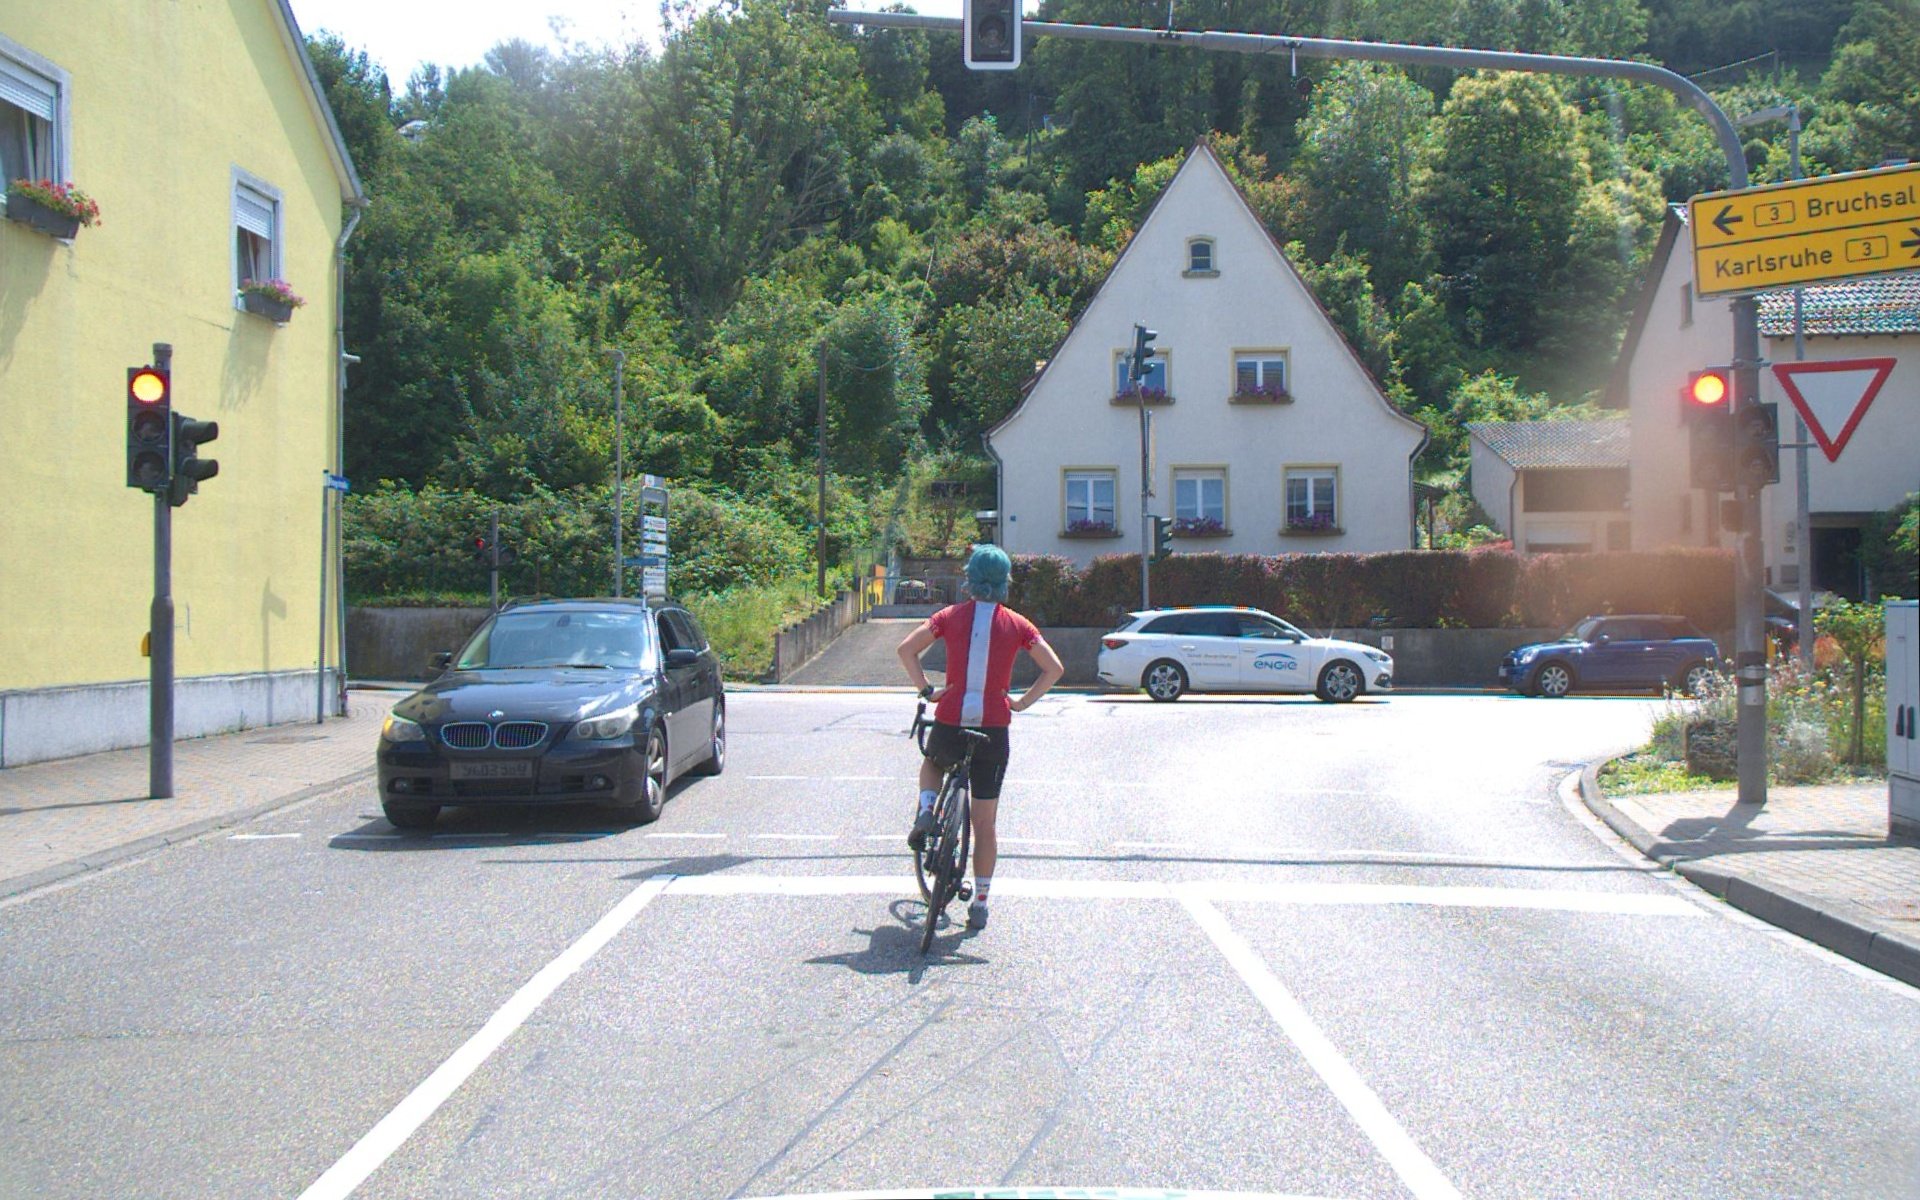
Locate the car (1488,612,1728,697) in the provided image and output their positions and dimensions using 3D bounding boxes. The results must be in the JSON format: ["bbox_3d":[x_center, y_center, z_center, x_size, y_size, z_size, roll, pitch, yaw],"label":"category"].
[{"bbox_3d":[11.137,0.950,28.609,3.533,1.387,1.645,1,-3,3],"label":"car"}]

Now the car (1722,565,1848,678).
[{"bbox_3d":[16.765,0.386,33.786,1.758,1.411,3.696,0,14,18],"label":"car"}]

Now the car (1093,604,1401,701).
[{"bbox_3d":[4.373,0.816,25.755,4.565,1.452,1.929,0,-2,5],"label":"car"}]

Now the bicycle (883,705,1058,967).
[{"bbox_3d":[0.006,0.986,7.362,0.617,0.920,1.655,1,0,-5],"label":"bicycle"}]

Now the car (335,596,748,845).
[{"bbox_3d":[-2.853,0.730,12.420,1.825,1.467,4.671,-2,0,1],"label":"car"}]

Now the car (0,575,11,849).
[{"bbox_3d":[-6.759,0.663,7.762,1.953,1.664,4.629,1,0,-1],"label":"car"}]

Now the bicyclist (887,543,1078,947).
[{"bbox_3d":[0.078,0.615,7.415,0.746,1.693,0.868,1,0,-5],"label":"bicyclist"}]
